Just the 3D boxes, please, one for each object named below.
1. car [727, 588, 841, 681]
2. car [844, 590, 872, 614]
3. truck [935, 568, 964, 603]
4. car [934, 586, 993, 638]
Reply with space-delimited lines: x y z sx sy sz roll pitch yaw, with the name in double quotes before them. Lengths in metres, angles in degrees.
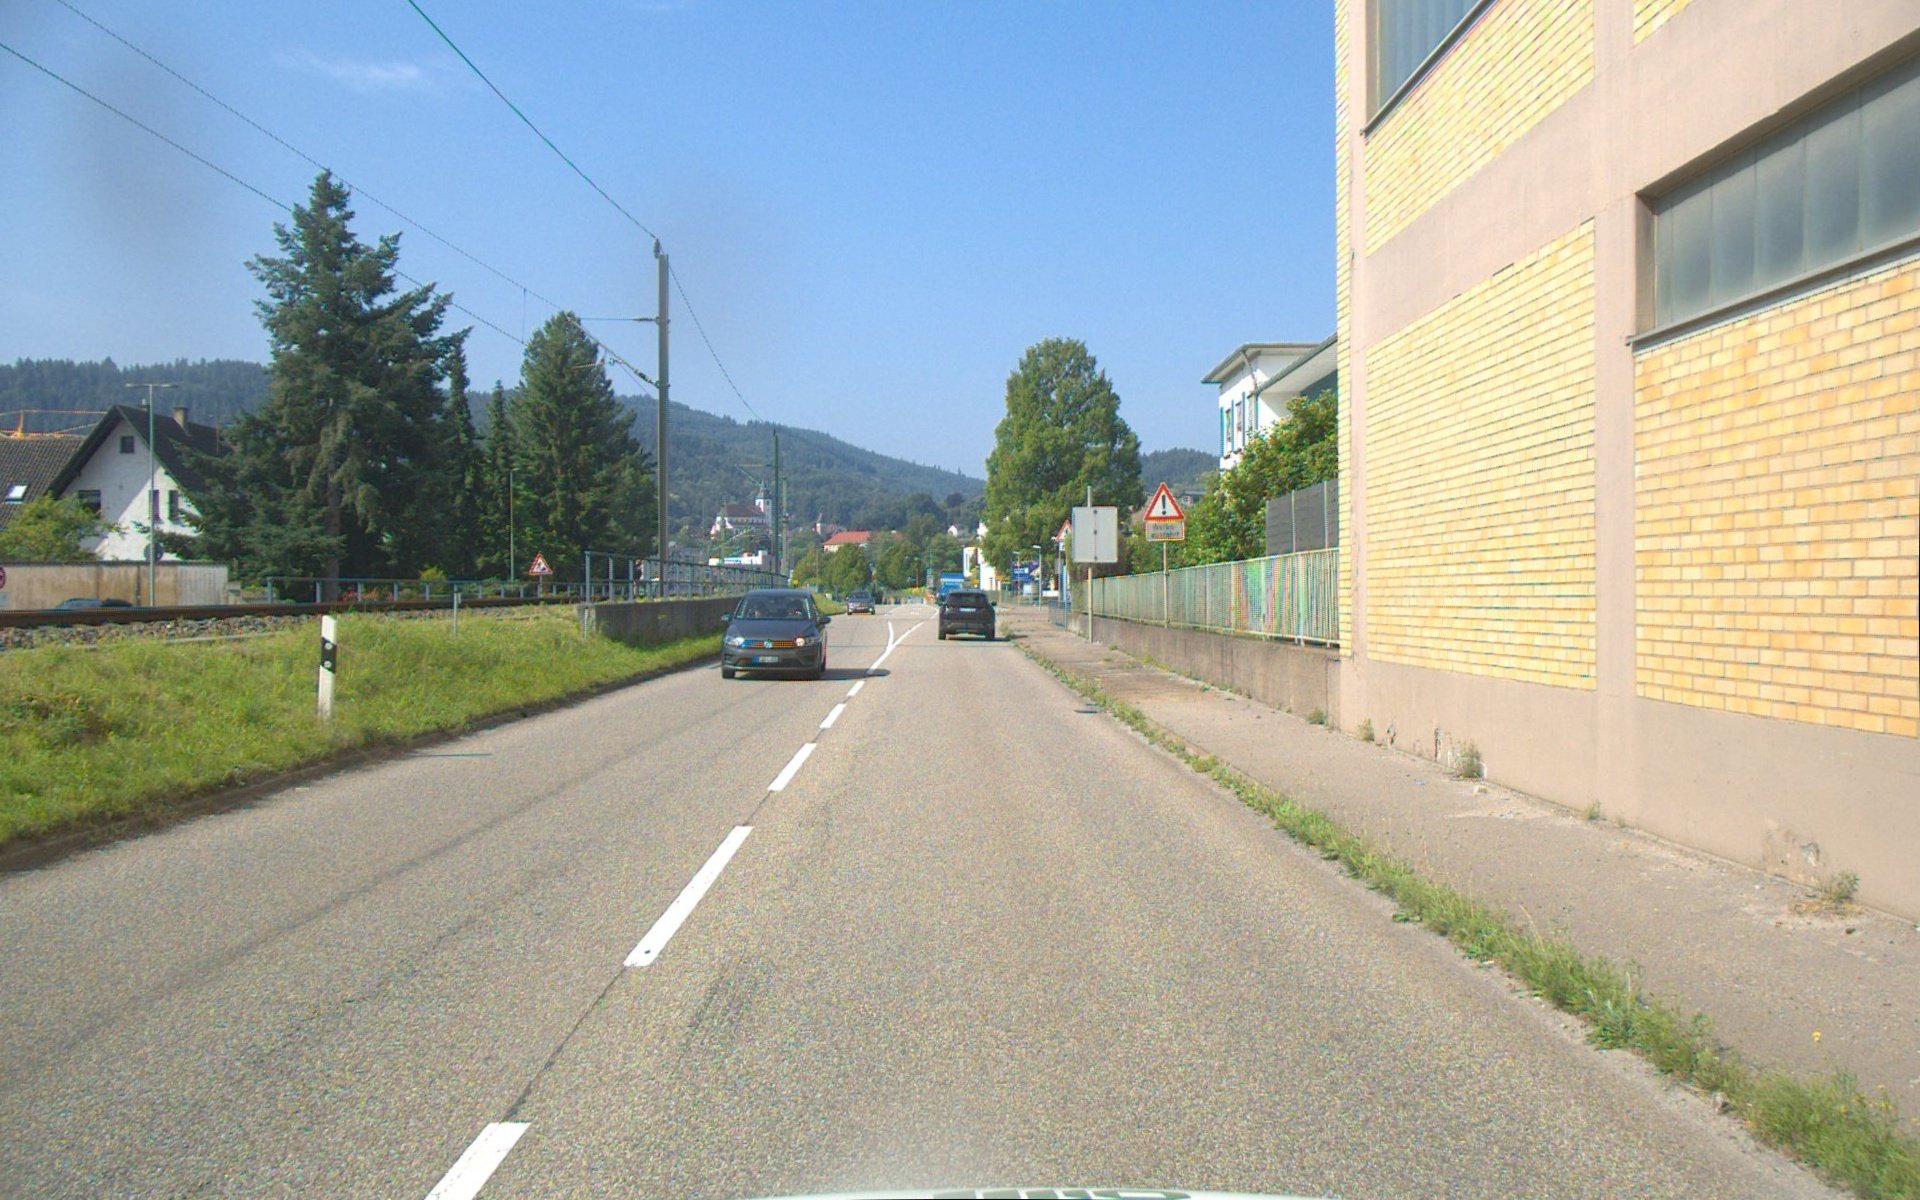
"car" -3.126 0.576 30.052 1.696 1.552 4.091 1 0 -1
"car" -6.642 0.100 107.966 1.707 1.533 4.198 0 0 -3
"truck" -0.949 -1.285 146.660 2.266 3.022 5.962 0 1 -3
"car" 0.135 0.374 54.837 1.880 1.668 4.000 0 0 1
